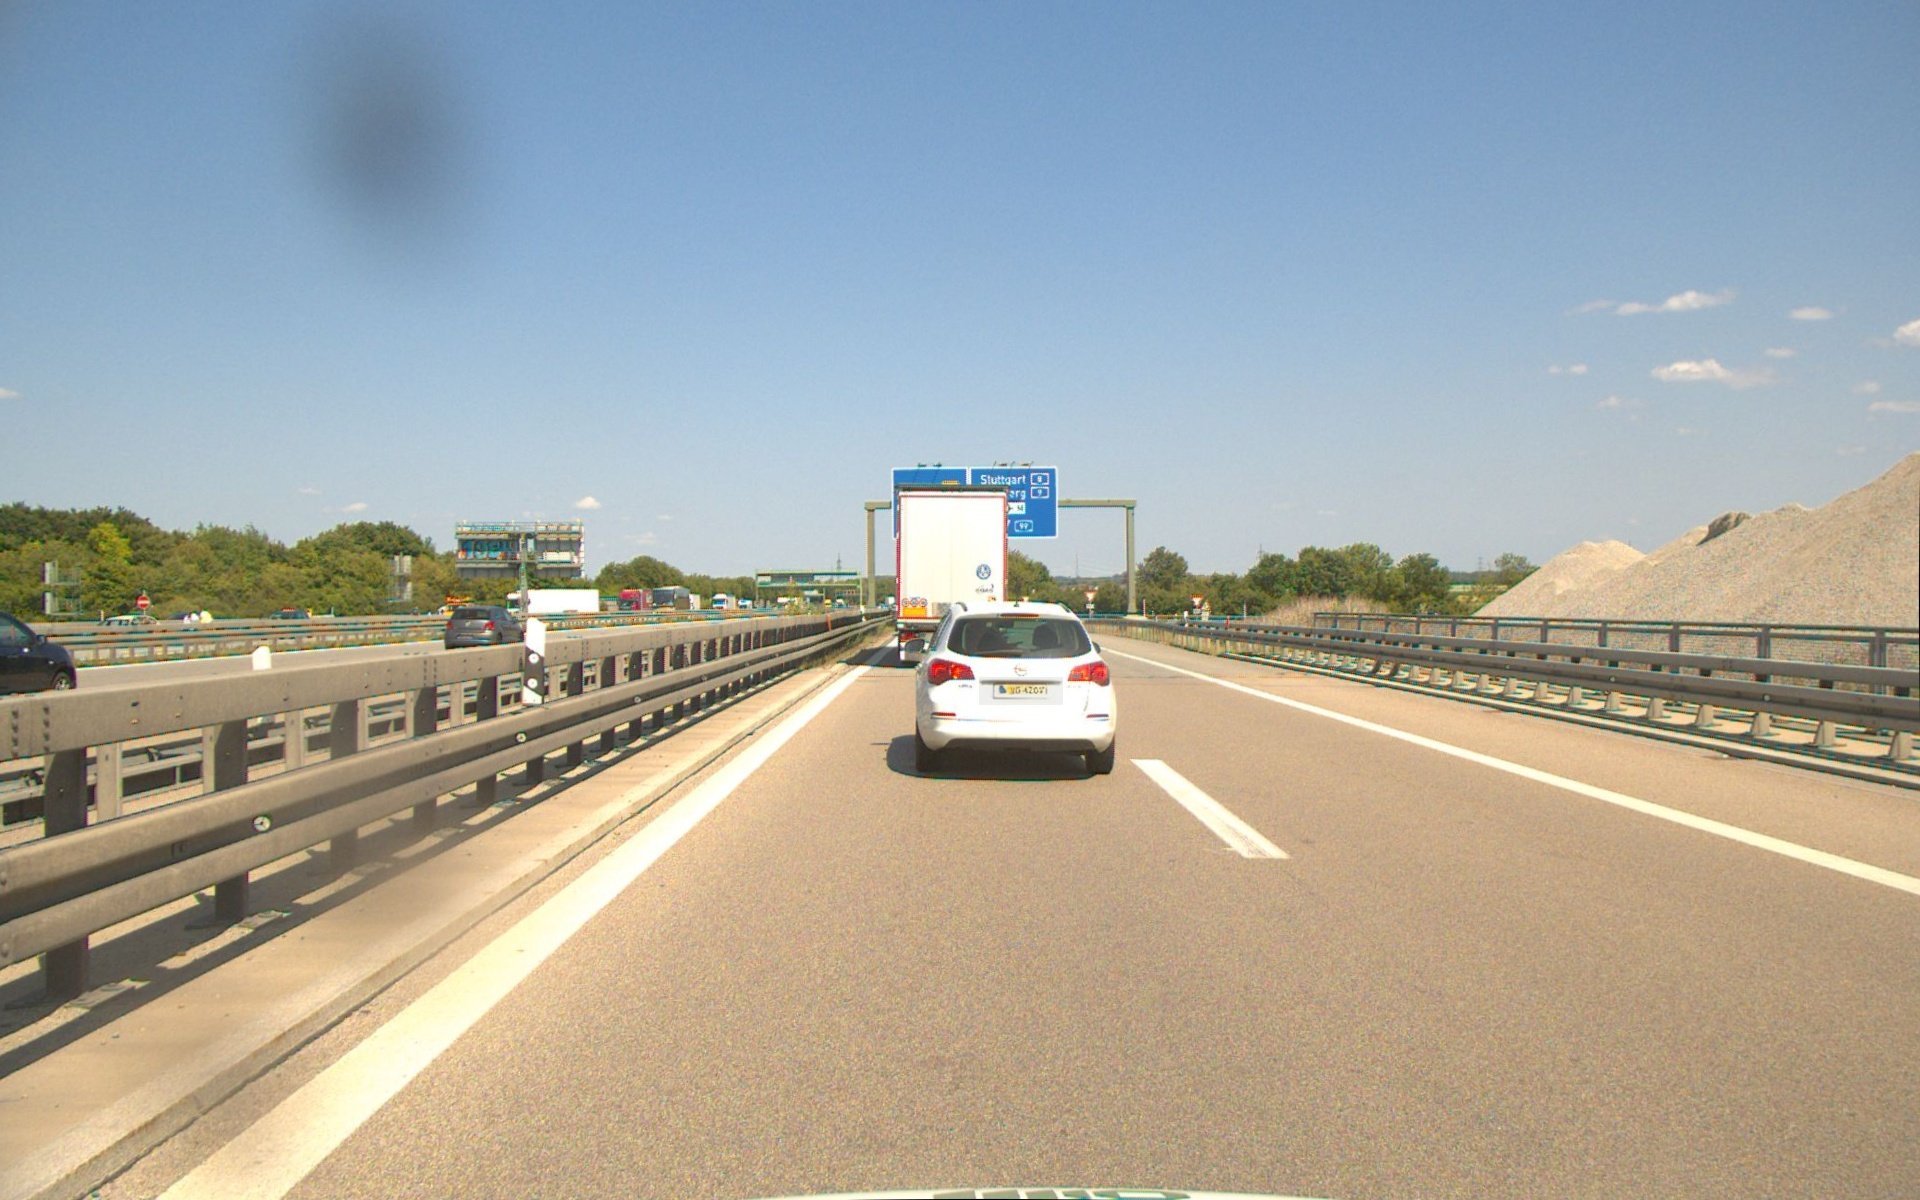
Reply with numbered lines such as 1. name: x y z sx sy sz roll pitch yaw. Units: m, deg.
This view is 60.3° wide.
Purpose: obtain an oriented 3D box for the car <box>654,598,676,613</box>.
1. car: -31.546 0.582 177.019 1.752 1.668 3.999 0 0 -1

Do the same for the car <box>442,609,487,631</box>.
1. car: -36.247 1.449 121.090 1.800 1.544 5.297 0 0 -1

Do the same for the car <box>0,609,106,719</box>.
1. car: -13.826 0.873 22.959 1.792 1.458 4.216 0 0 -1

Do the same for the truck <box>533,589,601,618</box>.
1. truck: -47.731 0.370 201.199 1.952 3.358 12.176 0 0 18

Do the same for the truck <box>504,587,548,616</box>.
1. truck: -50.661 0.190 193.242 1.954 3.358 5.383 0 0 25

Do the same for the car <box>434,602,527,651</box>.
1. car: -15.050 0.805 52.115 1.726 1.447 4.216 0 0 -1

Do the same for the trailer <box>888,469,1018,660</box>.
1. trailer: -0.208 -0.726 42.497 2.853 4.218 11.255 1 -1 -1

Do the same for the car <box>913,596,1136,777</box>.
1. car: 0.508 0.706 15.783 1.816 1.468 4.371 1 0 -1

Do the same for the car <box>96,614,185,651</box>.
1. car: -37.271 1.449 75.333 1.800 1.544 4.530 0 0 -1
